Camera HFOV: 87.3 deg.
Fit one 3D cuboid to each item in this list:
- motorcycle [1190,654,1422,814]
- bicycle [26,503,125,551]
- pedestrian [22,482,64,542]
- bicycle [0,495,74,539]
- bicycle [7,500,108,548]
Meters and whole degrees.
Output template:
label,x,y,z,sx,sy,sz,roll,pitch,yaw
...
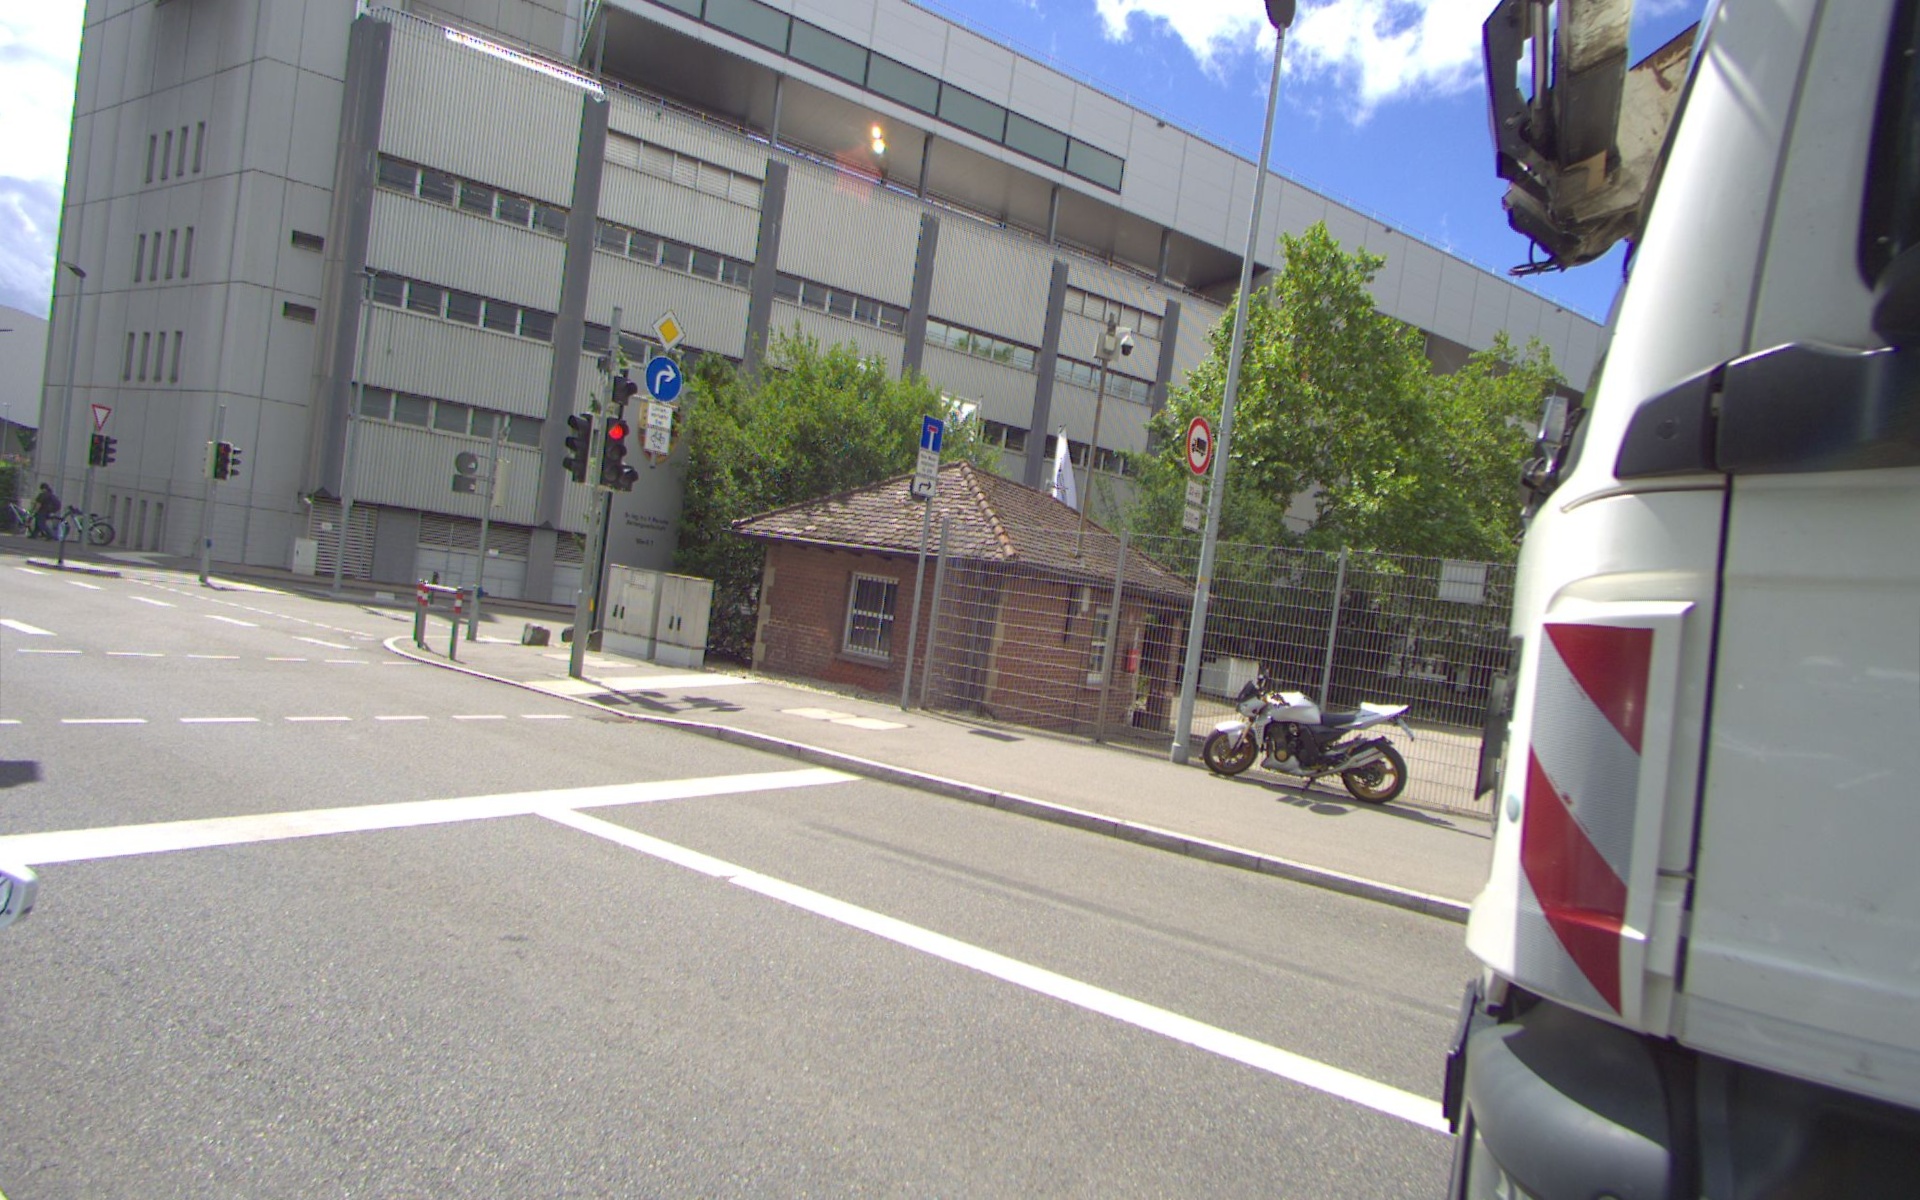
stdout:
label,x,y,z,sx,sy,sz,roll,pitch,yaw
motorcycle,3.418,1.268,10.022,1.980,1.239,0.687,6,2,32
bicycle,-27.210,-2.242,30.983,2.166,1.099,0.474,8,-1,-23
pedestrian,-27.367,-2.612,30.030,0.651,1.659,0.531,8,-1,-30
bicycle,-29.294,-2.639,31.487,2.197,1.099,0.474,8,-1,-23
bicycle,-27.959,-2.333,31.202,2.197,1.099,0.474,8,-1,-23
